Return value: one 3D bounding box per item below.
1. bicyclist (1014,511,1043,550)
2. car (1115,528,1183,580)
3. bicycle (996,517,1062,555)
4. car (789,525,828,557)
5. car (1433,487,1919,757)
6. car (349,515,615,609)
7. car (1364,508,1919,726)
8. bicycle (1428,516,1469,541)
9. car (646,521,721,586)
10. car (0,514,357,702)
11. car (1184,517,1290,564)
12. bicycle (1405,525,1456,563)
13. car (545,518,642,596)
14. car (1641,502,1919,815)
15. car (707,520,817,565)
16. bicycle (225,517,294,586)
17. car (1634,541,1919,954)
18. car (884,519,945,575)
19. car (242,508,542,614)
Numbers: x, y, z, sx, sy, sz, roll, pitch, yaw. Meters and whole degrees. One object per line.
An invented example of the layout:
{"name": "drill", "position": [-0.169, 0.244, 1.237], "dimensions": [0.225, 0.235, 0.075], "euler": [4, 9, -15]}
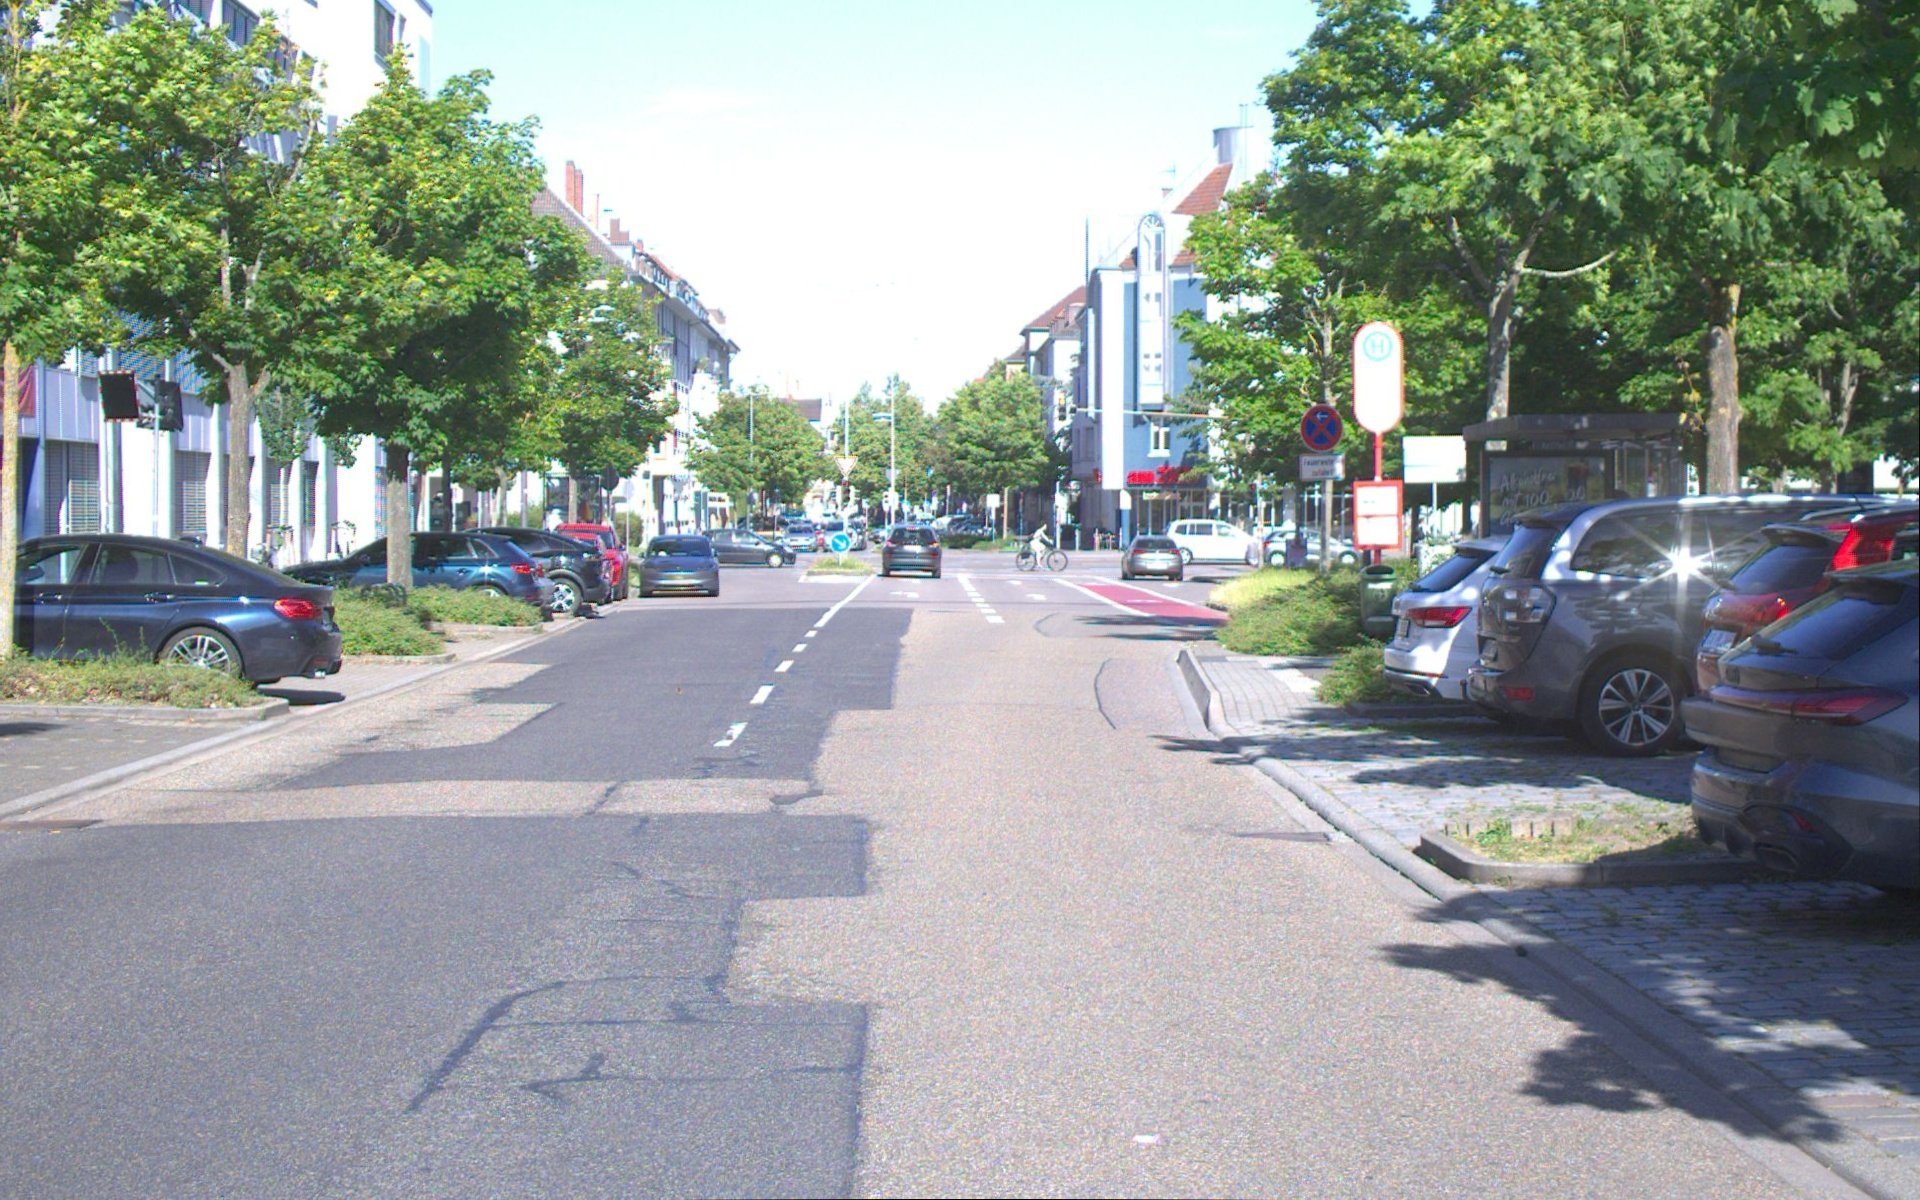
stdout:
{"name": "bicyclist", "position": [2.401, -2.448, 120.905], "dimensions": [0.703, 1.343, 0.791], "euler": [1, 2, 34]}
{"name": "car", "position": [6.094, -1.501, 111.290], "dimensions": [1.688, 1.572, 3.872], "euler": [2, 1, -4]}
{"name": "bicycle", "position": [2.431, -2.245, 120.880], "dimensions": [2.259, 1.343, 0.791], "euler": [1, 2, 34]}
{"name": "car", "position": [-7.744, -3.043, 176.430], "dimensions": [1.754, 1.550, 3.731], "euler": [2, 1, 0]}
{"name": "car", "position": [5.436, 0.101, 22.379], "dimensions": [4.402, 1.635, 2.075], "euler": [-1, 1, 0]}
{"name": "car", "position": [-8.276, -0.671, 59.825], "dimensions": [4.385, 1.427, 1.898], "euler": [2, 1, -3]}
{"name": "car", "position": [5.224, 0.090, 24.664], "dimensions": [4.402, 1.458, 1.895], "euler": [-1, 1, 0]}
{"name": "bicycle", "position": [23.504, -3.453, 165.480], "dimensions": [1.863, 1.178, 0.562], "euler": [0, 1, -5]}
{"name": "car", "position": [-6.505, -1.119, 81.222], "dimensions": [1.688, 1.463, 4.548], "euler": [-1, 1, -4]}
{"name": "car", "position": [-7.484, 0.017, 29.328], "dimensions": [4.384, 1.427, 1.978], "euler": [2, 1, -4]}
{"name": "car", "position": [10.389, -2.248, 129.175], "dimensions": [3.859, 1.572, 1.693], "euler": [3, 1, 4]}
{"name": "bicycle", "position": [16.771, -1.995, 122.516], "dimensions": [0.792, 1.343, 2.258], "euler": [1, 2, 37]}
{"name": "car", "position": [-8.027, -0.969, 75.612], "dimensions": [1.688, 1.601, 4.311], "euler": [2, 1, -1]}
{"name": "car", "position": [5.946, 0.244, 17.906], "dimensions": [4.402, 1.531, 1.877], "euler": [-1, 1, 0]}
{"name": "car", "position": [-7.215, -2.115, 125.661], "dimensions": [3.950, 1.594, 1.676], "euler": [-1, 1, -3]}
{"name": "bicycle", "position": [-13.828, -0.961, 67.929], "dimensions": [0.709, 1.342, 2.232], "euler": [-1, 1, 5]}
{"name": "car", "position": [4.958, 0.473, 12.958], "dimensions": [4.402, 1.404, 2.075], "euler": [-1, 1, 0]}
{"name": "car", "position": [-1.442, -1.680, 107.475], "dimensions": [1.753, 1.622, 4.479], "euler": [2, 1, -2]}
{"name": "car", "position": [-8.693, -0.606, 52.855], "dimensions": [4.384, 1.427, 1.694], "euler": [2, 1, -5]}
